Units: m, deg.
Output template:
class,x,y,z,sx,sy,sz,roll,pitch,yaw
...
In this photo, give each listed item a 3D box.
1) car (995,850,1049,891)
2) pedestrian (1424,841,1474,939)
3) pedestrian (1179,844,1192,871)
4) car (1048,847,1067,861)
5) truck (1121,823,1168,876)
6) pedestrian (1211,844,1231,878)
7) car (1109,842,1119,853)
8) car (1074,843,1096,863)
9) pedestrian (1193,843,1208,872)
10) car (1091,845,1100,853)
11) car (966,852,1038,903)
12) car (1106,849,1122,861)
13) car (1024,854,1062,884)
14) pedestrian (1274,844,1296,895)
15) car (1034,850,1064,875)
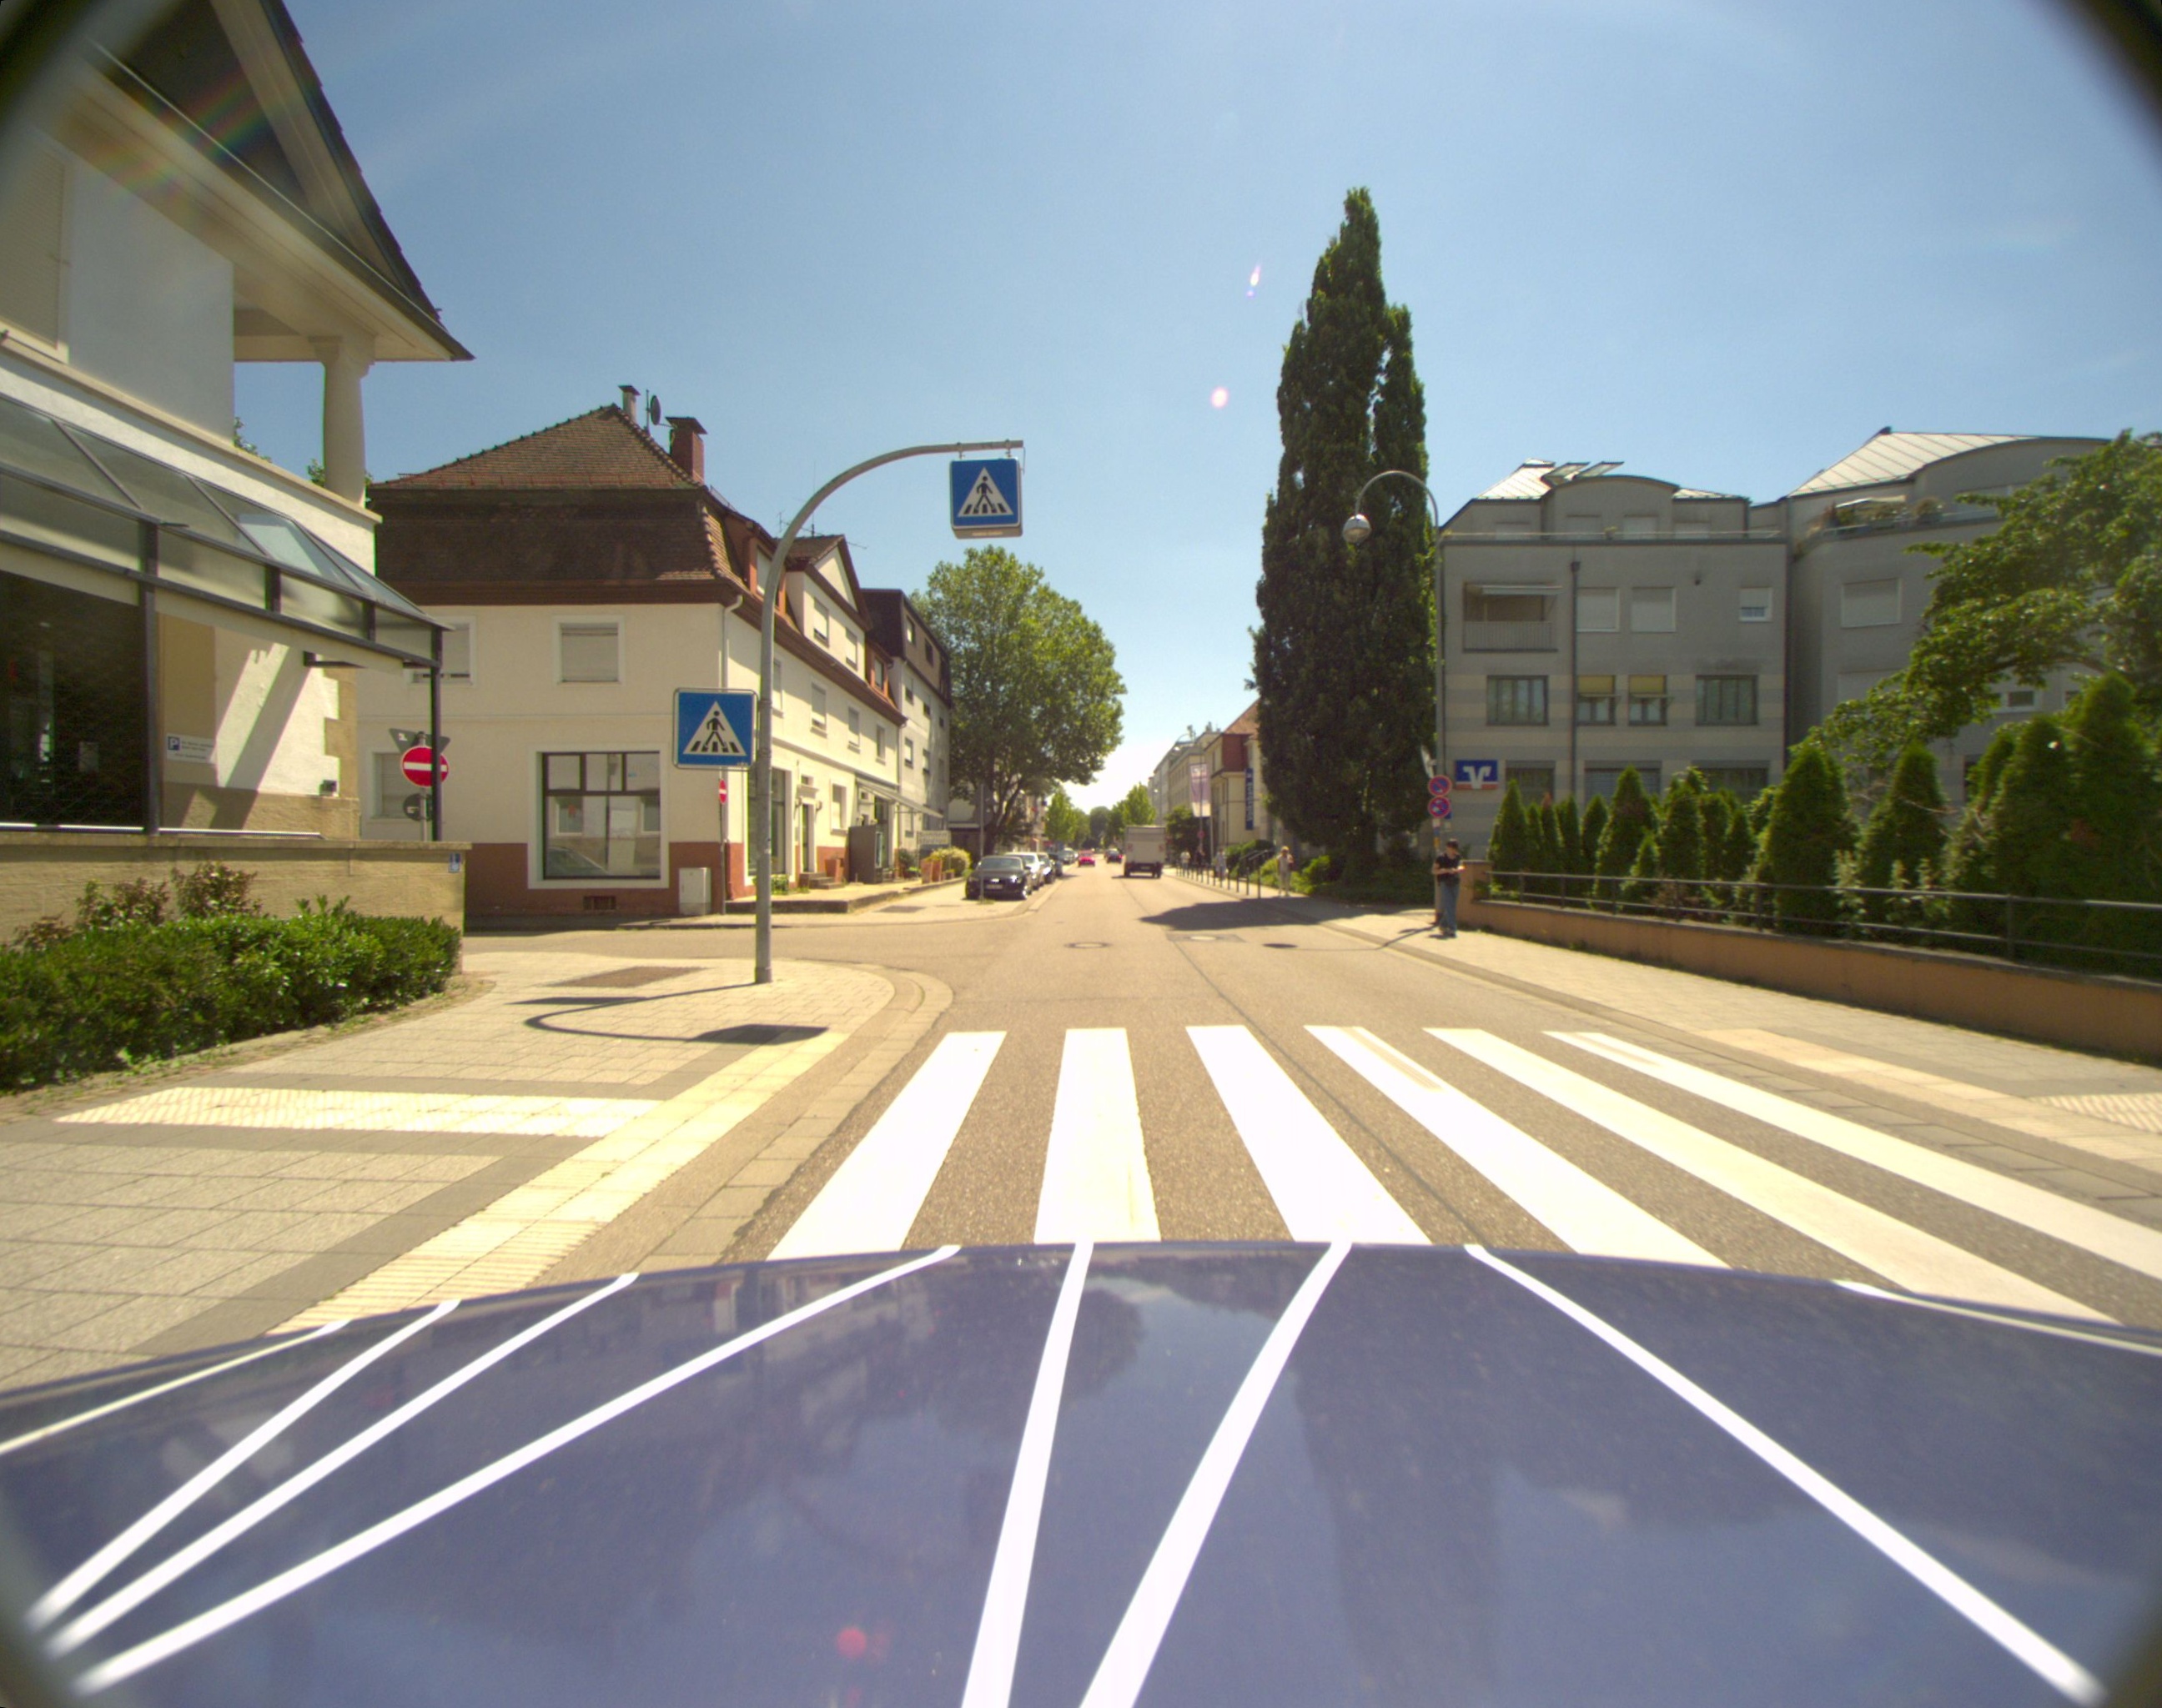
class,x,y,z,sx,sy,sz,roll,pitch,yaw
car,-2.360,0.628,31.487,1.748,1.460,4.851,2,1,1
pedestrian,6.483,0.615,13.403,0.538,1.675,0.708,-1,1,1
pedestrian,6.496,0.219,47.233,0.622,1.667,0.903,-3,1,0
car,-2.510,-0.011,82.719,1.818,1.379,4.114,2,1,0
truck,3.723,-0.292,45.937,2.426,2.966,6.257,0,1,1
pedestrian,7.147,0.357,38.836,0.847,1.635,0.751,-3,2,3
car,6.355,-1.225,144.622,1.731,2.154,4.293,1,1,0
car,0.402,-0.133,76.079,2.000,1.880,4.293,-2,1,1
pedestrian,7.392,0.209,47.082,0.750,1.760,0.951,-1,1,0
car,2.939,-1.060,150.176,1.698,1.594,3.811,0,1,0
car,-2.517,0.703,25.310,1.831,1.418,4.699,1,1,1
car,4.141,0.103,95.804,1.834,1.502,4.262,1,1,1
car,-1.804,0.687,36.832,1.561,1.333,4.173,1,1,0
pedestrian,6.841,0.500,25.527,0.538,1.675,0.708,-1,1,1
car,-2.028,0.528,48.817,1.834,1.502,4.758,-1,1,-2
